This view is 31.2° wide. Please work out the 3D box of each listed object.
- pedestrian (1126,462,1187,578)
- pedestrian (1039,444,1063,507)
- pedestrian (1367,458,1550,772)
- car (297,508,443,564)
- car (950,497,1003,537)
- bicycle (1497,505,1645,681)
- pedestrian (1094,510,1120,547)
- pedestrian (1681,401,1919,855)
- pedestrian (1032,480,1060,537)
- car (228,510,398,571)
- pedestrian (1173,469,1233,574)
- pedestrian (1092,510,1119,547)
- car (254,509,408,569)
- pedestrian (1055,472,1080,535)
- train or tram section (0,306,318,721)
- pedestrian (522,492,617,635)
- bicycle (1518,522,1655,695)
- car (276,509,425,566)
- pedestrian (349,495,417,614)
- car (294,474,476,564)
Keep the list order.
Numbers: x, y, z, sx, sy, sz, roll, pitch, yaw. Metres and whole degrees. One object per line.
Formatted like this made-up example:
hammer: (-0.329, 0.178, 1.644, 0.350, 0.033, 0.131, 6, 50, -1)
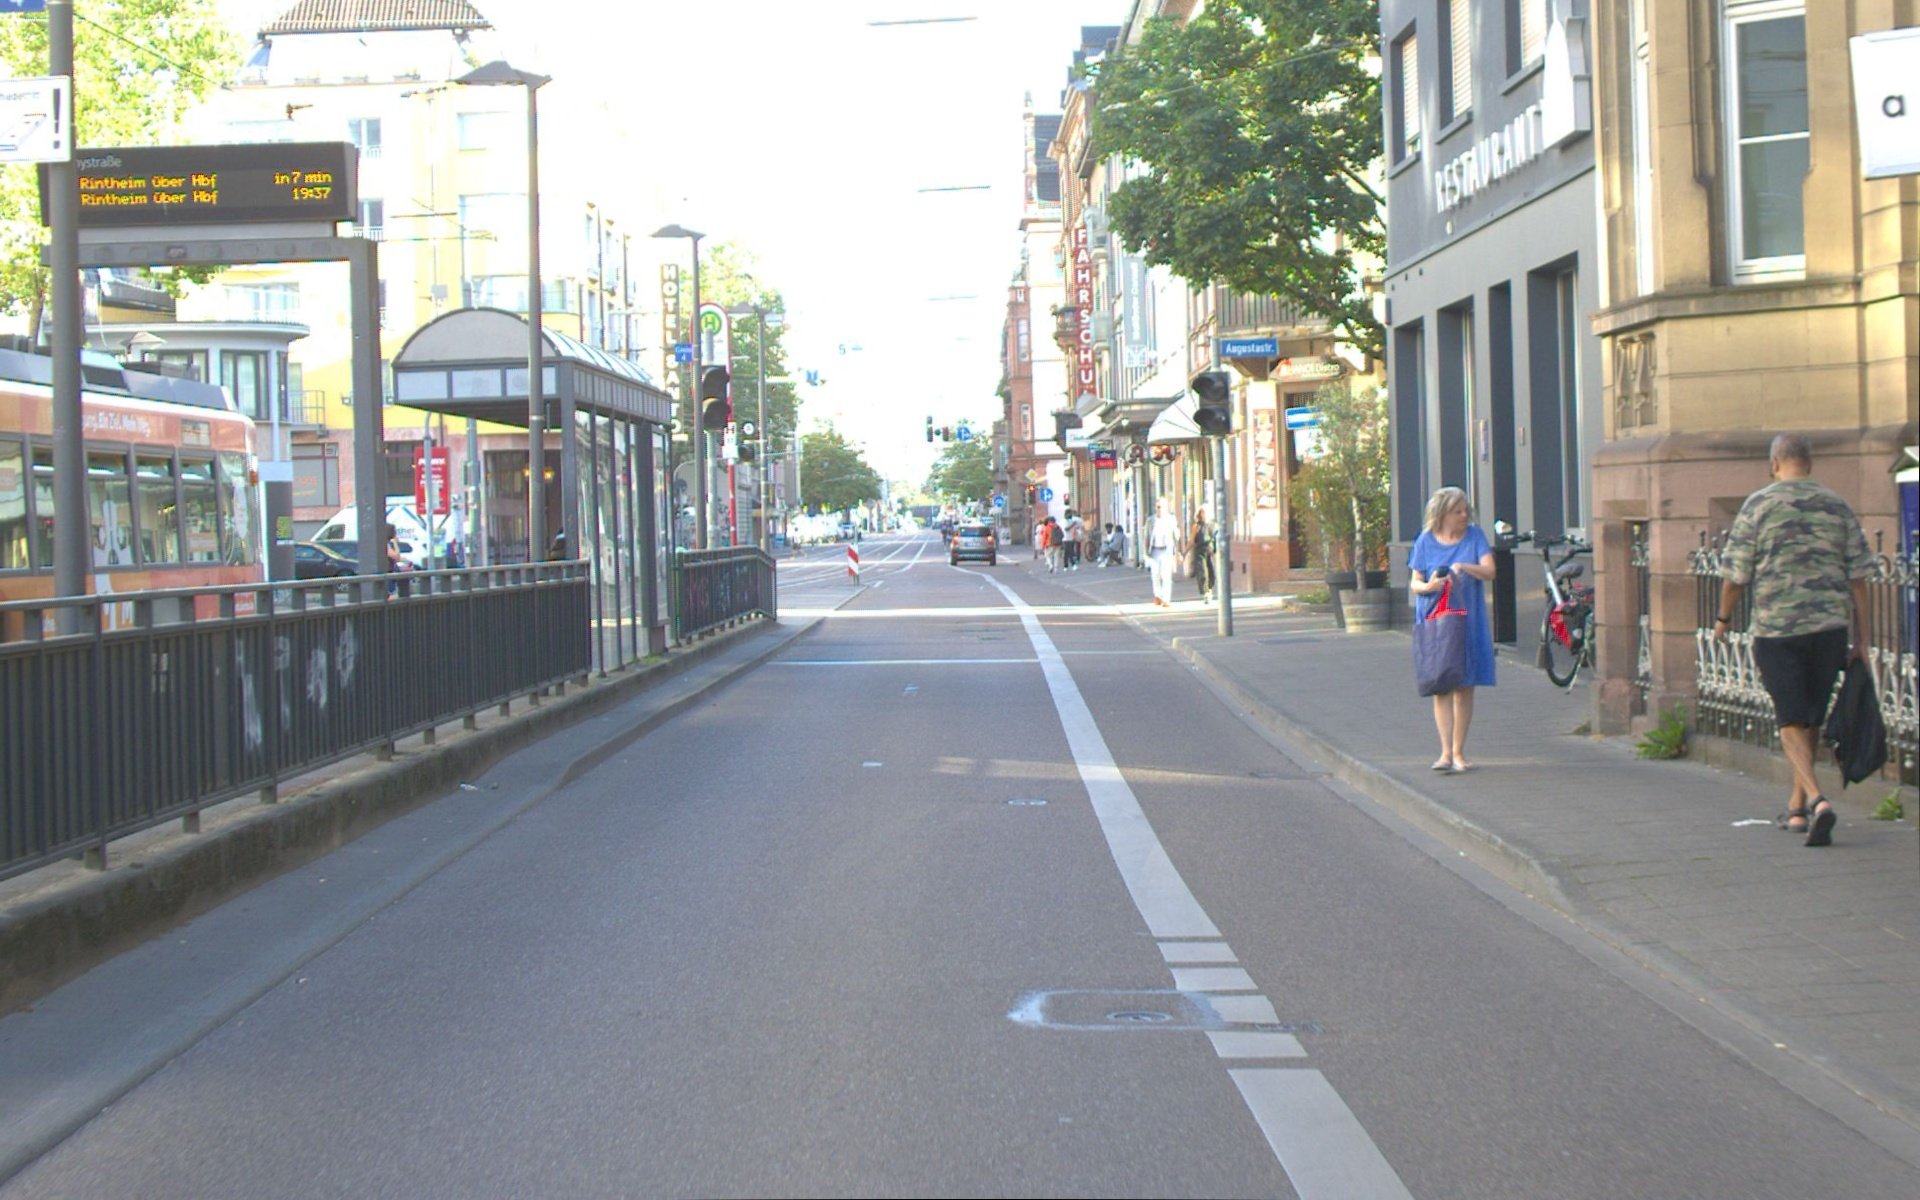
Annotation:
pedestrian: (3.134, -1.285, 54.870, 0.713, 1.768, 0.773, -6, 3, -3)
pedestrian: (2.637, -3.605, 99.457, 0.560, 1.790, 0.650, -3, 2, 7)
pedestrian: (2.743, 0.064, 18.977, 0.762, 1.639, 0.832, -5, 2, 0)
car: (-17.712, -1.922, 103.269, 3.987, 1.505, 1.800, -2, 2, 1)
car: (0.632, -3.301, 136.114, 1.993, 1.444, 4.001, -2, 2, 0)
bicycle: (4.580, -0.075, 25.881, 0.623, 1.194, 1.908, -6, 2, -1)
pedestrian: (4.315, -2.110, 101.140, 0.690, 1.040, 0.680, -3, 2, 4)
pedestrian: (3.610, 0.099, 14.584, 0.801, 1.817, 0.797, -5, 2, 0)
pedestrian: (2.963, -3.157, 118.826, 0.843, 1.911, 0.662, -3, 2, -2)
car: (-17.948, -1.650, 95.505, 4.320, 1.505, 1.800, -2, 2, 1)
pedestrian: (3.876, -1.267, 54.935, 0.713, 1.597, 0.773, -6, 3, -3)
pedestrian: (4.240, -2.092, 100.142, 0.690, 1.040, 0.680, -3, 2, 4)
car: (-17.939, -1.747, 98.160, 3.987, 1.505, 1.800, -2, 2, 1)
pedestrian: (3.160, -2.839, 101.087, 0.648, 1.790, 0.561, -3, 2, 4)
train or tram section: (-9.375, -0.819, 33.933, 2.885, 3.478, 14.951, -2, 1, 1)
pedestrian: (-3.329, -0.317, 29.350, 0.685, 1.171, 0.537, -3, 2, 1)
bicycle: (4.344, 0.040, 23.943, 0.591, 1.066, 1.804, -6, 2, 2)
car: (-17.840, -1.834, 100.739, 3.987, 1.505, 1.800, -2, 2, 1)
pedestrian: (-8.483, -0.677, 50.567, 0.869, 1.708, 0.788, -1, 3, -2)
car: (-17.670, -2.507, 105.831, 5.106, 2.567, 2.129, -2, 2, 1)
